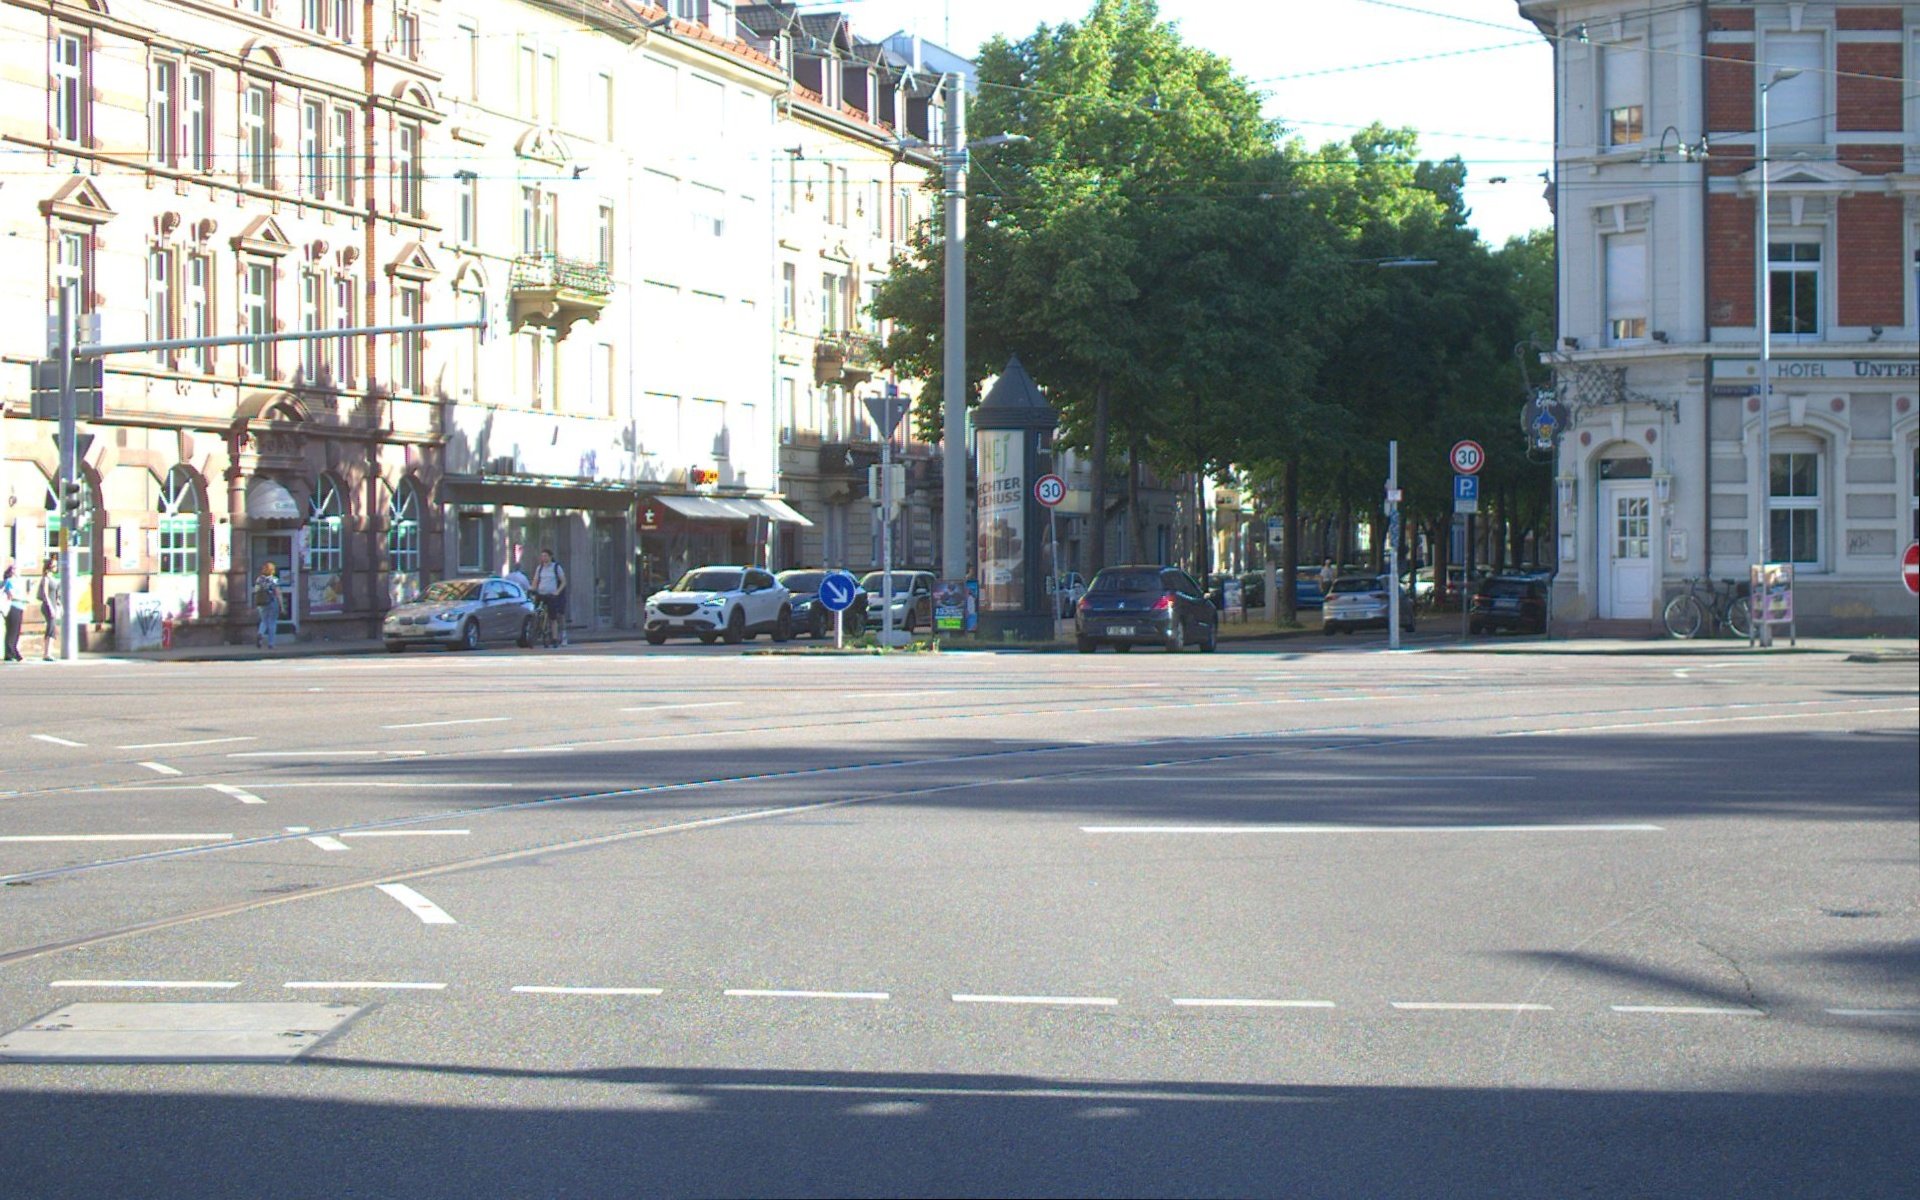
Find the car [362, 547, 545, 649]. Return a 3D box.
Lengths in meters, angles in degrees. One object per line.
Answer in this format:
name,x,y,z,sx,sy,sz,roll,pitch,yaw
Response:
car,-9.837,-0.051,67.094,1.995,1.897,3.997,1,1,17

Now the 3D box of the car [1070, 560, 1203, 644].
car,3.047,0.013,58.653,1.754,1.357,3.854,1,1,10

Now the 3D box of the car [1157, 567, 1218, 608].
car,8.743,-0.490,132.005,1.560,1.508,3.653,1,1,17

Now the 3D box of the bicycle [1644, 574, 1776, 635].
bicycle,12.449,0.071,57.101,2.049,0.994,0.630,1,0,3

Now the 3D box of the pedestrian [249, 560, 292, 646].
pedestrian,-13.186,0.047,65.746,0.544,1.626,0.706,1,0,13

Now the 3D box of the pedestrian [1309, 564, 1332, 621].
pedestrian,11.486,-0.244,109.605,0.640,1.790,0.490,1,0,12

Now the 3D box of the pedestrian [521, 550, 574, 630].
pedestrian,-7.832,-0.190,65.217,0.821,1.507,0.598,1,0,15

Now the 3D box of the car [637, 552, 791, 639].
car,-4.785,-0.103,67.404,1.994,1.612,3.998,1,1,11

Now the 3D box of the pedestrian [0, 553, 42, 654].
pedestrian,-15.335,0.046,55.914,0.633,1.628,0.701,1,0,-4

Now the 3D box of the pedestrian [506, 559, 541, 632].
pedestrian,-9.702,-0.101,76.498,0.544,1.626,0.706,1,0,13

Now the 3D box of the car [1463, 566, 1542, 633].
car,13.065,-0.024,82.601,1.692,1.559,3.839,1,1,11

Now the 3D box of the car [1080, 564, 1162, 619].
car,5.780,-0.299,122.769,1.995,1.897,3.997,1,1,17

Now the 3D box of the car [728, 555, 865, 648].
car,-3.476,0.016,73.672,1.994,1.897,3.998,1,1,11

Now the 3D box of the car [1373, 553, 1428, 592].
car,17.269,-1.077,134.689,1.560,1.508,3.653,1,1,17

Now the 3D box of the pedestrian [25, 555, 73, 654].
pedestrian,-15.132,0.077,57.128,0.633,1.628,0.701,1,0,-4

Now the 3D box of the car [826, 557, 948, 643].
car,-1.661,-0.019,79.641,1.994,1.897,3.998,1,1,11

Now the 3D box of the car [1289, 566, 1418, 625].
car,13.158,-0.170,114.983,3.990,1.897,1.998,1,1,16

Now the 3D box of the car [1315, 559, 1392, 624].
car,9.459,-0.220,82.888,1.772,1.525,3.999,1,1,6

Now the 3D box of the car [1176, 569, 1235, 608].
car,9.750,-0.463,136.321,1.560,1.508,3.653,1,1,17

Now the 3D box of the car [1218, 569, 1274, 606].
car,11.877,-0.528,142.417,1.560,1.508,3.653,1,1,17

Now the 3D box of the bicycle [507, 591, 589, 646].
bicycle,-7.818,0.337,65.296,0.763,1.004,2.395,1,1,13
